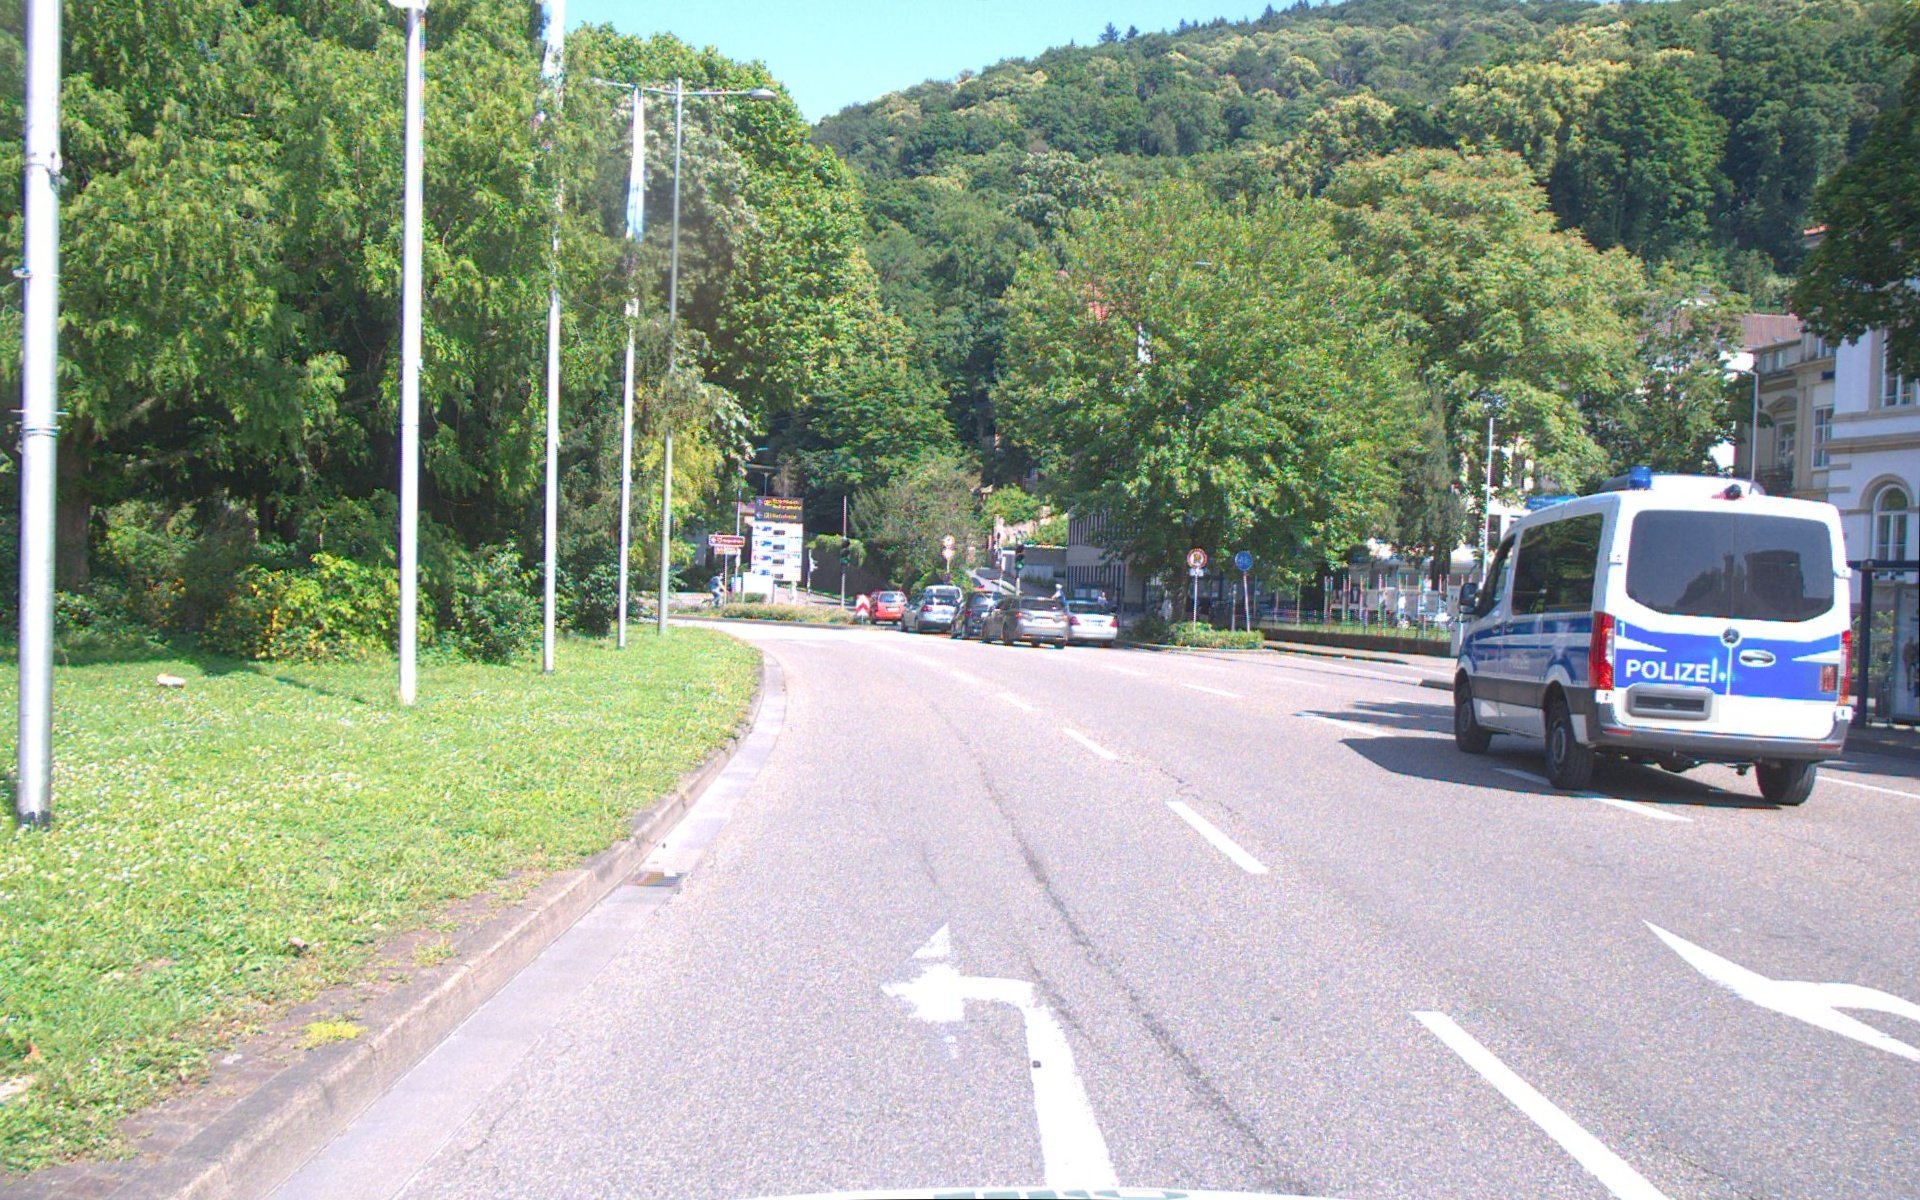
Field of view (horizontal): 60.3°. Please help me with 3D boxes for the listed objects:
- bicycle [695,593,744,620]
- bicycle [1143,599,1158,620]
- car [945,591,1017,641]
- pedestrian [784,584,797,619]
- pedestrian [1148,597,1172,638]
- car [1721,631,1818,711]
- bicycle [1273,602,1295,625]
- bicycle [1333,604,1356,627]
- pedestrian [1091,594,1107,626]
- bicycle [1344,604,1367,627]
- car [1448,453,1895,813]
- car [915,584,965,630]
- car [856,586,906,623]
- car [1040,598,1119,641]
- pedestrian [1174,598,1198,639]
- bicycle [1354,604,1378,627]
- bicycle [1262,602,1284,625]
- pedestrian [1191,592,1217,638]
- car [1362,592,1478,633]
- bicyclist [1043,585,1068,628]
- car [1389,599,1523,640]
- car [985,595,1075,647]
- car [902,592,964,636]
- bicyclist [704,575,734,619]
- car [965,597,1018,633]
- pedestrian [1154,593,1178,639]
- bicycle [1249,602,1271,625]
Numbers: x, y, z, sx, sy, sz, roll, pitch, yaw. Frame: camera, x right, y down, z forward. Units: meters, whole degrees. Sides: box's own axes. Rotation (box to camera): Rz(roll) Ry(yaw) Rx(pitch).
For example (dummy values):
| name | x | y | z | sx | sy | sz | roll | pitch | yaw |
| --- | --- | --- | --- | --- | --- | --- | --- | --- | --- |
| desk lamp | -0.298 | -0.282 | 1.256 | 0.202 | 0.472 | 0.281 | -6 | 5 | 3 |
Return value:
| name | x | y | z | sx | sy | sz | roll | pitch | yaw |
| --- | --- | --- | --- | --- | --- | --- | --- | --- | --- |
| bicycle | -10.966 | 0.300 | 75.299 | 2.032 | 1.132 | 0.757 | 2 | 0 | 16 |
| bicycle | 10.097 | 0.501 | 87.677 | 0.397 | 1.030 | 1.338 | 1 | 1 | -9 |
| car | 0.642 | 0.498 | 54.181 | 1.724 | 1.486 | 3.486 | 2 | 0 | -10 |
| pedestrian | -8.287 | 0.073 | 80.690 | 0.535 | 1.649 | 0.634 | 1 | 1 | 0 |
| pedestrian | 8.493 | 0.757 | 70.367 | 0.756 | 1.692 | 0.828 | 2 | 0 | -9 |
| car | 16.967 | 1.435 | 34.582 | 1.675 | 1.467 | 3.806 | 3 | 0 | 28 |
| bicycle | 16.269 | 0.680 | 83.092 | 0.527 | 1.104 | 1.832 | 1 | 0 | -7 |
| bicycle | 19.350 | 0.758 | 83.224 | 0.527 | 1.104 | 1.832 | 1 | 0 | -7 |
| pedestrian | 6.627 | 0.477 | 78.730 | 0.482 | 1.483 | 0.729 | 1 | 0 | -21 |
| bicycle | 19.928 | 0.773 | 83.380 | 0.527 | 1.104 | 1.832 | 1 | 0 | -7 |
| car | 5.934 | 0.249 | 14.587 | 2.030 | 2.552 | 4.931 | 2 | 0 | 4 |
| car | -0.954 | 0.291 | 76.209 | 1.724 | 1.972 | 3.486 | 2 | 0 | -10 |
| car | -3.441 | 0.189 | 71.490 | 1.724 | 1.486 | 3.486 | 2 | 0 | -10 |
| car | 3.808 | 0.606 | 53.196 | 1.724 | 1.234 | 3.486 | 2 | 0 | -10 |
| pedestrian | 9.502 | 0.785 | 69.587 | 0.756 | 1.692 | 0.828 | 2 | 0 | -8 |
| bicycle | 20.499 | 0.787 | 83.500 | 0.527 | 1.104 | 1.832 | 1 | 0 | -7 |
| bicycle | 15.690 | 0.665 | 82.990 | 0.527 | 1.104 | 1.832 | 1 | 0 | -7 |
| pedestrian | 10.209 | 0.627 | 69.205 | 0.757 | 1.886 | 0.827 | 2 | 0 | -11 |
| car | 18.318 | 0.492 | 65.873 | 4.073 | 1.501 | 1.871 | 2 | 0 | -14 |
| bicyclist | 4.496 | 0.313 | 77.758 | 1.102 | 1.966 | 0.748 | 2 | 0 | 3 |
| car | 18.291 | 0.730 | 61.025 | 4.387 | 1.359 | 1.816 | 2 | 0 | -12 |
| car | 1.969 | 0.580 | 47.648 | 1.725 | 1.357 | 3.792 | 2 | 0 | -11 |
| car | -1.039 | 0.502 | 60.907 | 1.724 | 1.486 | 3.638 | 2 | 0 | -9 |
| bicyclist | -10.978 | -0.127 | 75.302 | 1.102 | 1.966 | 0.749 | 2 | 0 | 16 |
| car | 1.396 | 0.644 | 73.984 | 1.724 | 1.486 | 3.486 | 2 | 0 | -10 |
| pedestrian | 8.622 | 0.667 | 69.288 | 0.757 | 1.886 | 0.827 | 2 | 0 | -10 |
| bicycle | 15.032 | 0.648 | 82.887 | 0.527 | 1.104 | 1.832 | 1 | 0 | -7 |
